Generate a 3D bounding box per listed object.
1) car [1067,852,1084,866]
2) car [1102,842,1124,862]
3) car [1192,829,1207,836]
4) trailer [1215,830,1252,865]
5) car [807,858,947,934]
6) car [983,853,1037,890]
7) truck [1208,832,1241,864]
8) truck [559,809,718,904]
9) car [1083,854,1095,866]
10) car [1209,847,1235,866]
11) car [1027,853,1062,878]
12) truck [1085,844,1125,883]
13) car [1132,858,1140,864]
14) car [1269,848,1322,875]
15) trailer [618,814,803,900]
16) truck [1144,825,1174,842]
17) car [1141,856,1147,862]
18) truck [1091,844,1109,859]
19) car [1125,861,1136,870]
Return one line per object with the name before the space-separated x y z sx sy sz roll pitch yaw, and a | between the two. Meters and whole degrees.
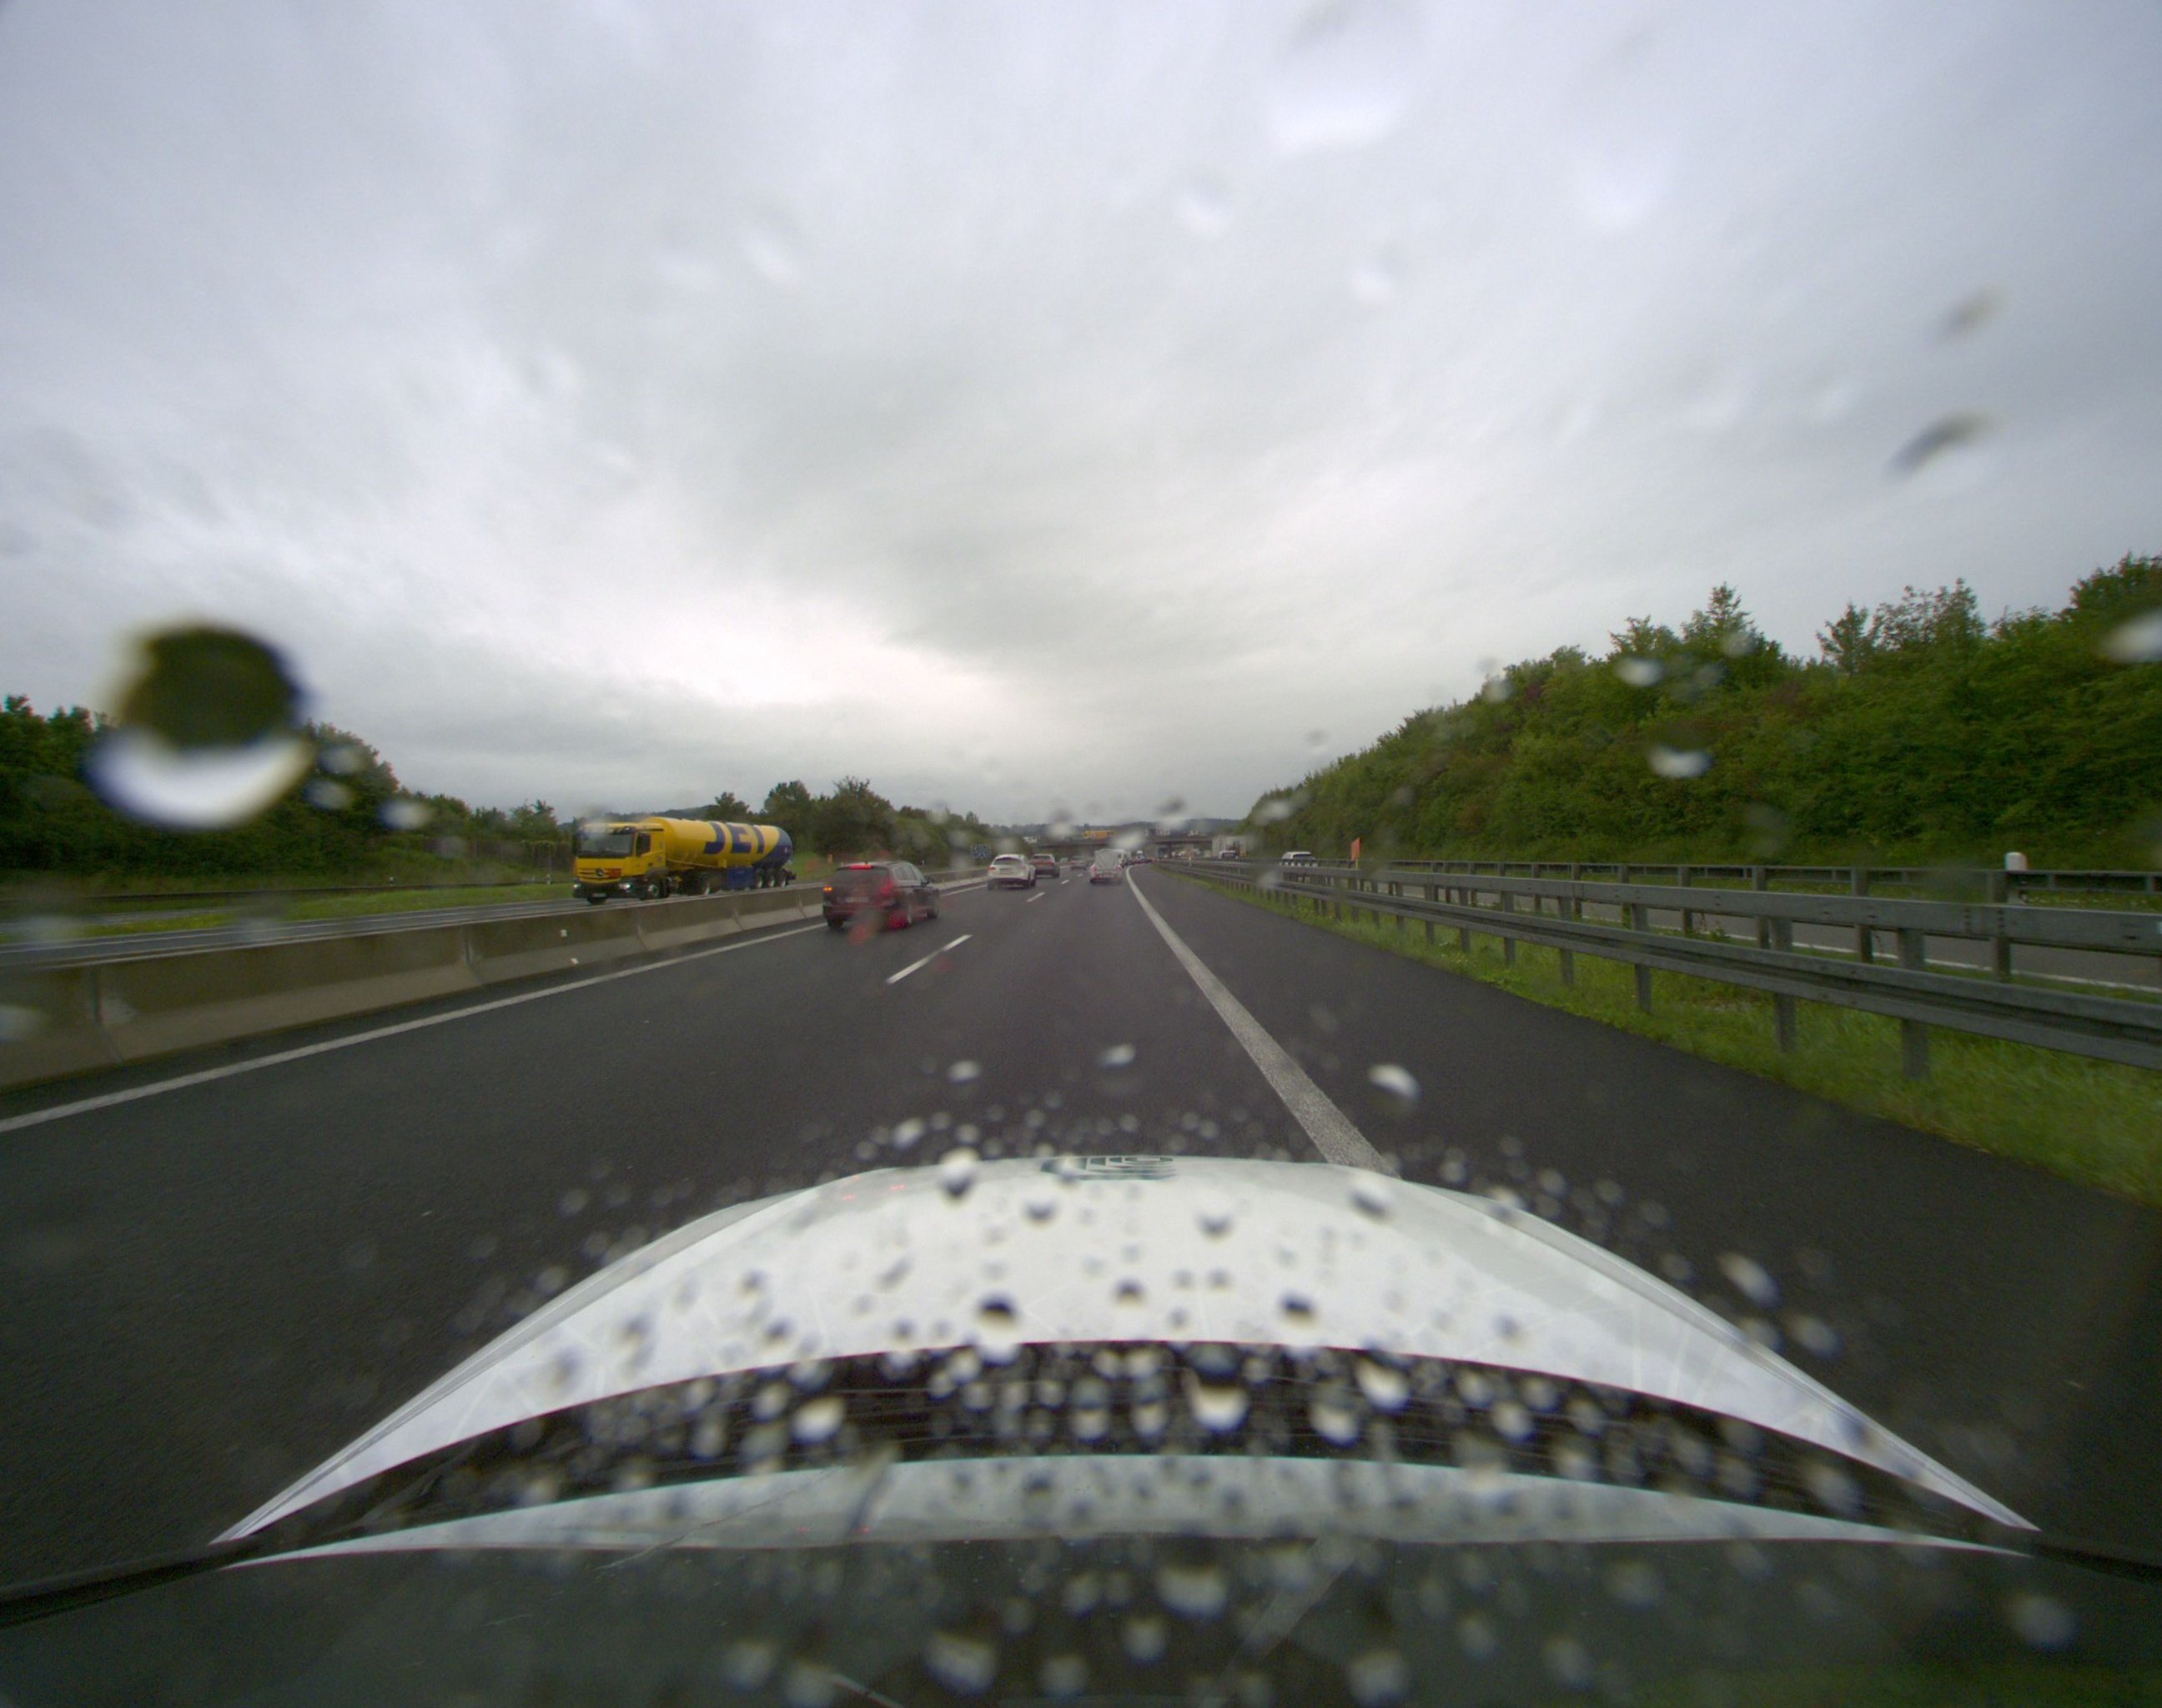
car | -0.581 0.538 95.908 1.894 1.613 4.017 -1 0 0
car | 4.669 -0.293 117.190 3.004 2.616 6.080 -1 0 3
car | 34.171 -6.201 235.214 1.851 1.915 3.955 0 0 -37
trailer | 20.058 -0.825 107.840 3.422 4.289 10.464 -1 0 4
car | -4.573 0.867 19.078 1.893 1.497 4.853 -1 0 2
car | -3.339 0.804 39.151 1.968 1.639 4.503 -1 0 2
truck | 20.739 -0.834 118.197 3.422 4.289 10.428 -1 0 4
truck | -17.092 0.098 31.953 2.750 3.398 5.851 0 0 4
car | 1.203 0.970 129.540 1.835 1.819 4.000 -1 0 0
car | 14.244 0.238 82.543 1.853 1.805 4.648 -1 0 1
car | -2.571 0.788 58.295 2.166 1.631 4.501 -1 0 1
truck | 1.448 0.499 46.291 2.010 1.985 7.219 -1 0 3
car | 14.493 1.851 213.395 1.985 1.750 4.003 0 0 3
car | 13.266 0.425 50.631 2.002 1.548 4.694 -1 0 -1
trailer | -16.679 0.140 38.067 2.749 3.398 11.458 0 0 4
truck | 24.076 -6.280 252.073 3.791 4.836 9.943 -1 0 -31
car | 18.625 1.474 241.002 1.985 1.750 4.004 0 0 4
truck | 4.895 -0.693 208.757 3.748 3.554 13.204 -1 0 5
car | 10.114 2.281 166.085 1.988 1.750 3.998 0 0 -1
